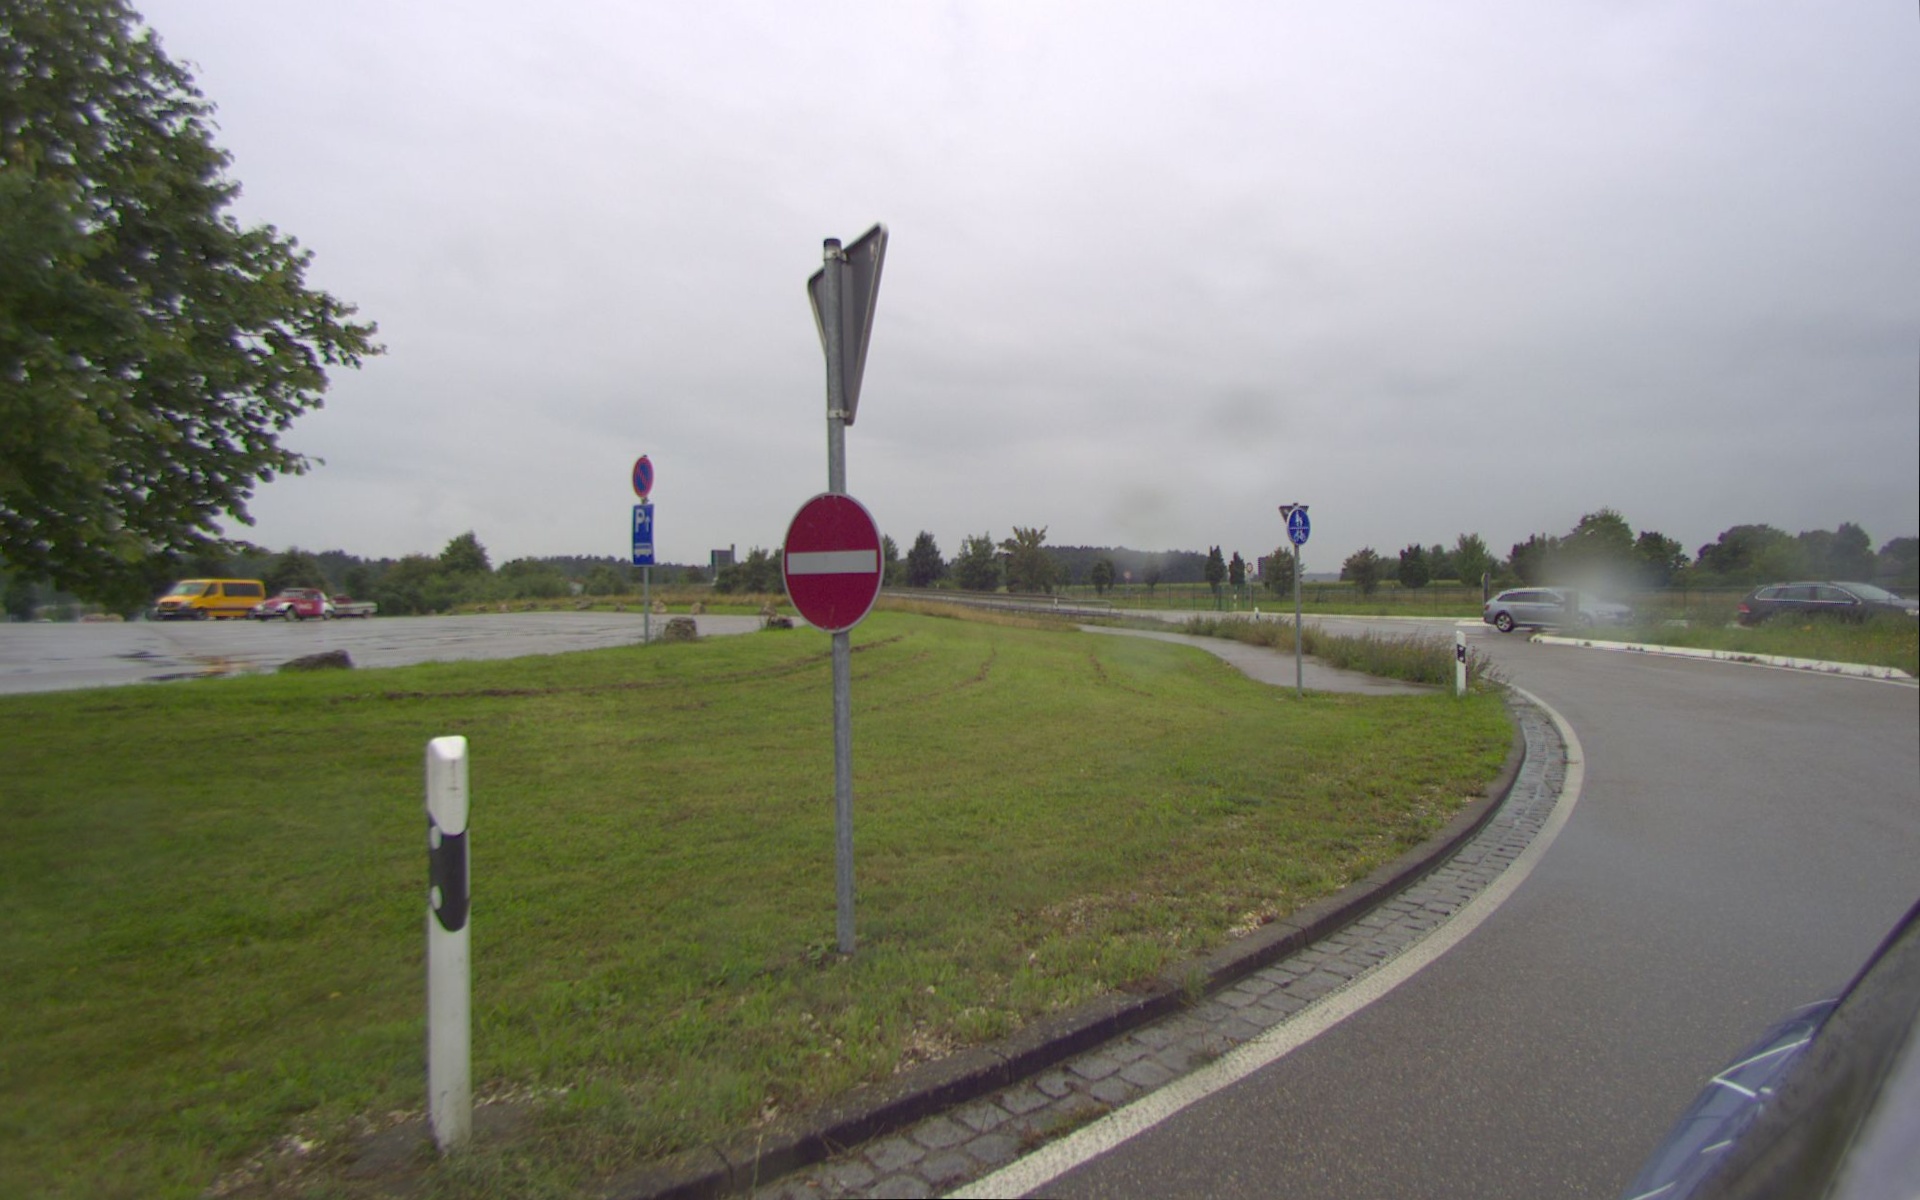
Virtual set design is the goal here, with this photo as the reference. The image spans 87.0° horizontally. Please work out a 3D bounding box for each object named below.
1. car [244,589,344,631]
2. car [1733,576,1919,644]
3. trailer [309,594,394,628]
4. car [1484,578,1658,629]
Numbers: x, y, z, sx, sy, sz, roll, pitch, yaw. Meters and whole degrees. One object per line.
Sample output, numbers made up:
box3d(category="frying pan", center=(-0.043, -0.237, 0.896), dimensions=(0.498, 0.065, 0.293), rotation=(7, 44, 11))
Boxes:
box3d(category="car", center=(-30.808, 0.432, 46.963), dimensions=(1.795, 1.800, 3.996), rotation=(-2, 0, 4))
box3d(category="car", center=(23.066, 0.232, 26.167), dimensions=(1.958, 1.623, 4.533), rotation=(0, 0, -20))
box3d(category="trailer", center=(-30.577, 0.522, 50.971), dimensions=(1.670, 1.552, 3.996), rotation=(-2, 0, 3))
box3d(category="car", center=(20.154, 0.081, 33.619), dimensions=(1.959, 1.500, 4.671), rotation=(-3, 1, -23))
